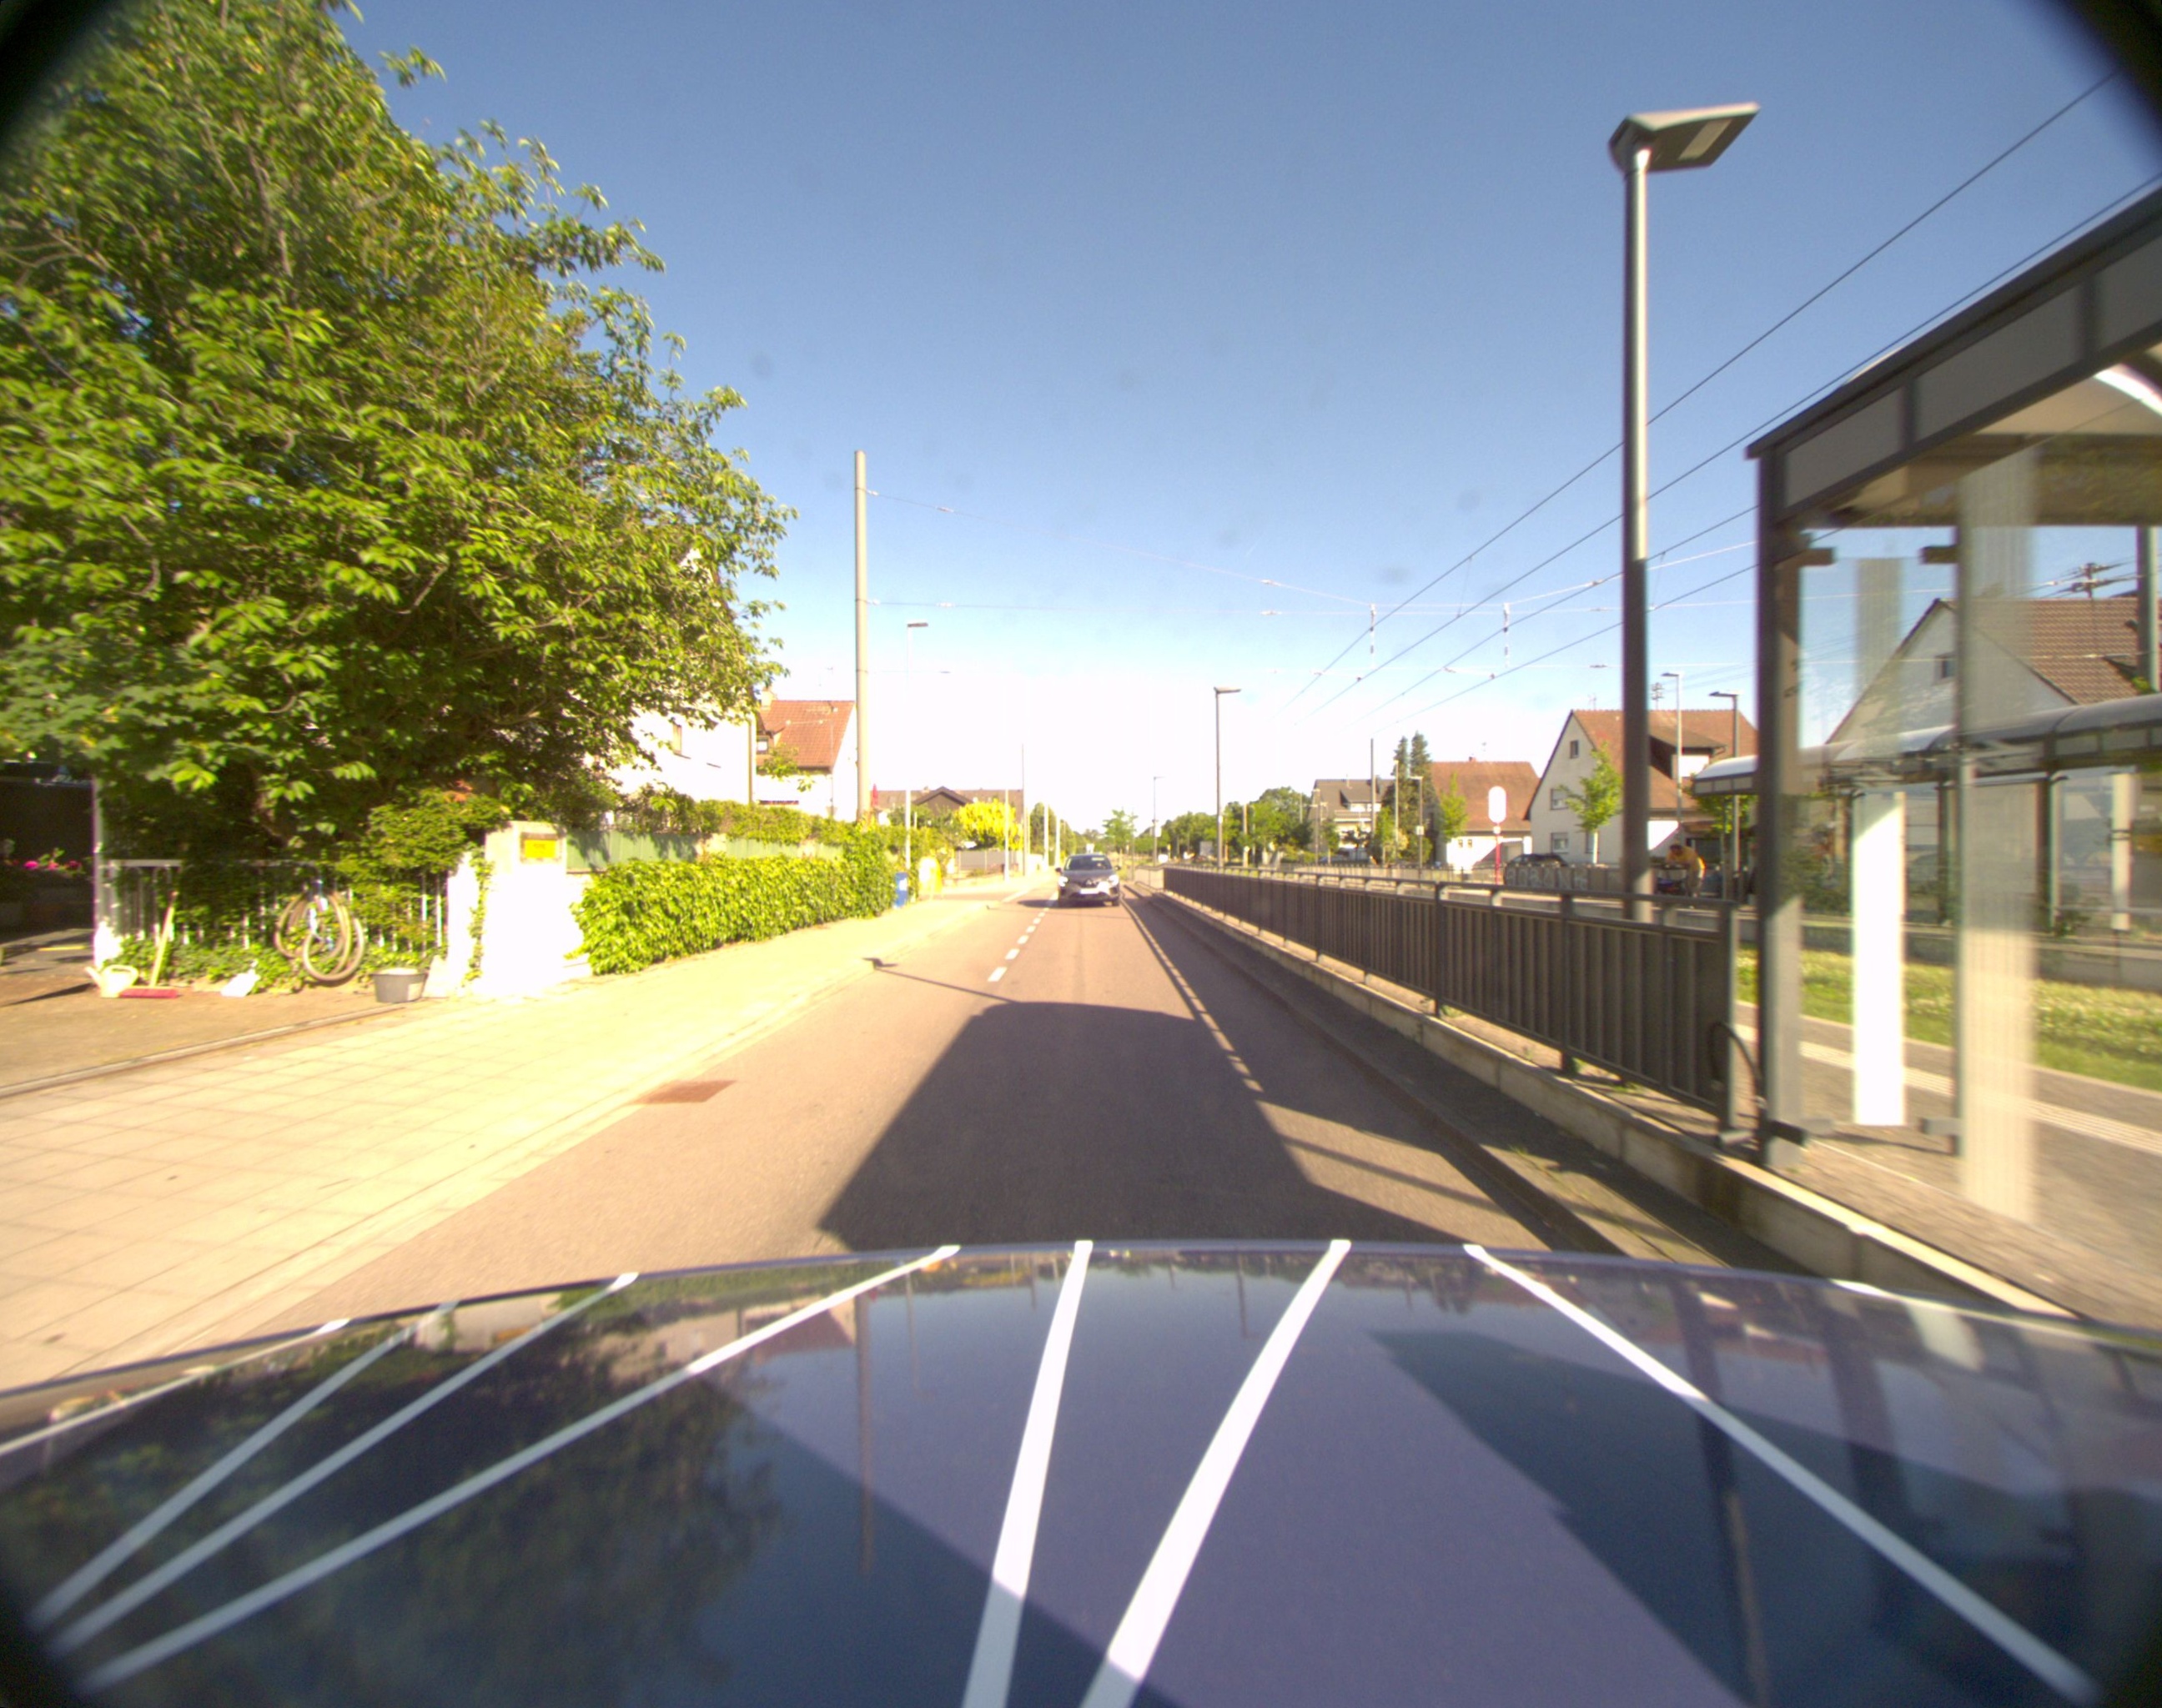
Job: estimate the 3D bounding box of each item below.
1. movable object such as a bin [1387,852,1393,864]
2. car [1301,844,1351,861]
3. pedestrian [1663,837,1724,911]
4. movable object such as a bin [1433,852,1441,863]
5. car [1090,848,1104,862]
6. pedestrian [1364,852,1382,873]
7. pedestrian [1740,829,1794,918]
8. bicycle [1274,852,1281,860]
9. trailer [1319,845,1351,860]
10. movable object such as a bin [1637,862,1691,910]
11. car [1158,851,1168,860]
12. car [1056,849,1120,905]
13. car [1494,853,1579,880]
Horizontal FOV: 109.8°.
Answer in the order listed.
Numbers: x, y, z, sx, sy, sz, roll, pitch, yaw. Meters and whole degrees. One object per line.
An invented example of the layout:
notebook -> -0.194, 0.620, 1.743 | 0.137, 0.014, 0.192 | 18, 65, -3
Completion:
movable object such as a bin -> 24.400, 0.291, 59.917 | 0.299, 0.960, 0.333 | -2, 1, -3
car -> 25.467, -0.158, 78.991 | 4.556, 1.724, 2.051 | 0, 0, -11
pedestrian -> 12.936, 0.414, 16.071 | 0.677, 1.527, 0.749 | 0, 0, -4
movable object such as a bin -> 28.221, 0.262, 60.207 | 0.371, 0.892, 0.452 | -2, 1, -3
car -> 2.287, 0.162, 109.148 | 1.998, 1.824, 4.000 | -2, 1, 1
pedestrian -> 22.775, 0.674, 59.262 | 0.967, 1.631, 1.085 | 0, 1, 1
pedestrian -> 13.311, 0.376, 14.760 | 0.521, 1.698, 0.581 | 0, 0, -4
bicycle -> 24.678, 0.251, 95.299 | 0.424, 0.936, 1.748 | -2, 1, 1
trailer -> 26.934, -0.152, 80.616 | 2.921, 1.638, 1.398 | 0, 1, -2
movable object such as a bin -> 12.292, 0.661, 16.035 | 0.548, 0.982, 0.741 | 0, 0, -3
car -> 17.496, 0.245, 161.983 | 1.902, 1.903, 4.702 | 0, 0, 2
car -> 0.174, 0.683, 24.375 | 1.867, 1.614, 3.999 | -1, 0, -1
car -> 26.390, 0.688, 44.281 | 1.939, 1.441, 5.162 | 0, 0, 1
